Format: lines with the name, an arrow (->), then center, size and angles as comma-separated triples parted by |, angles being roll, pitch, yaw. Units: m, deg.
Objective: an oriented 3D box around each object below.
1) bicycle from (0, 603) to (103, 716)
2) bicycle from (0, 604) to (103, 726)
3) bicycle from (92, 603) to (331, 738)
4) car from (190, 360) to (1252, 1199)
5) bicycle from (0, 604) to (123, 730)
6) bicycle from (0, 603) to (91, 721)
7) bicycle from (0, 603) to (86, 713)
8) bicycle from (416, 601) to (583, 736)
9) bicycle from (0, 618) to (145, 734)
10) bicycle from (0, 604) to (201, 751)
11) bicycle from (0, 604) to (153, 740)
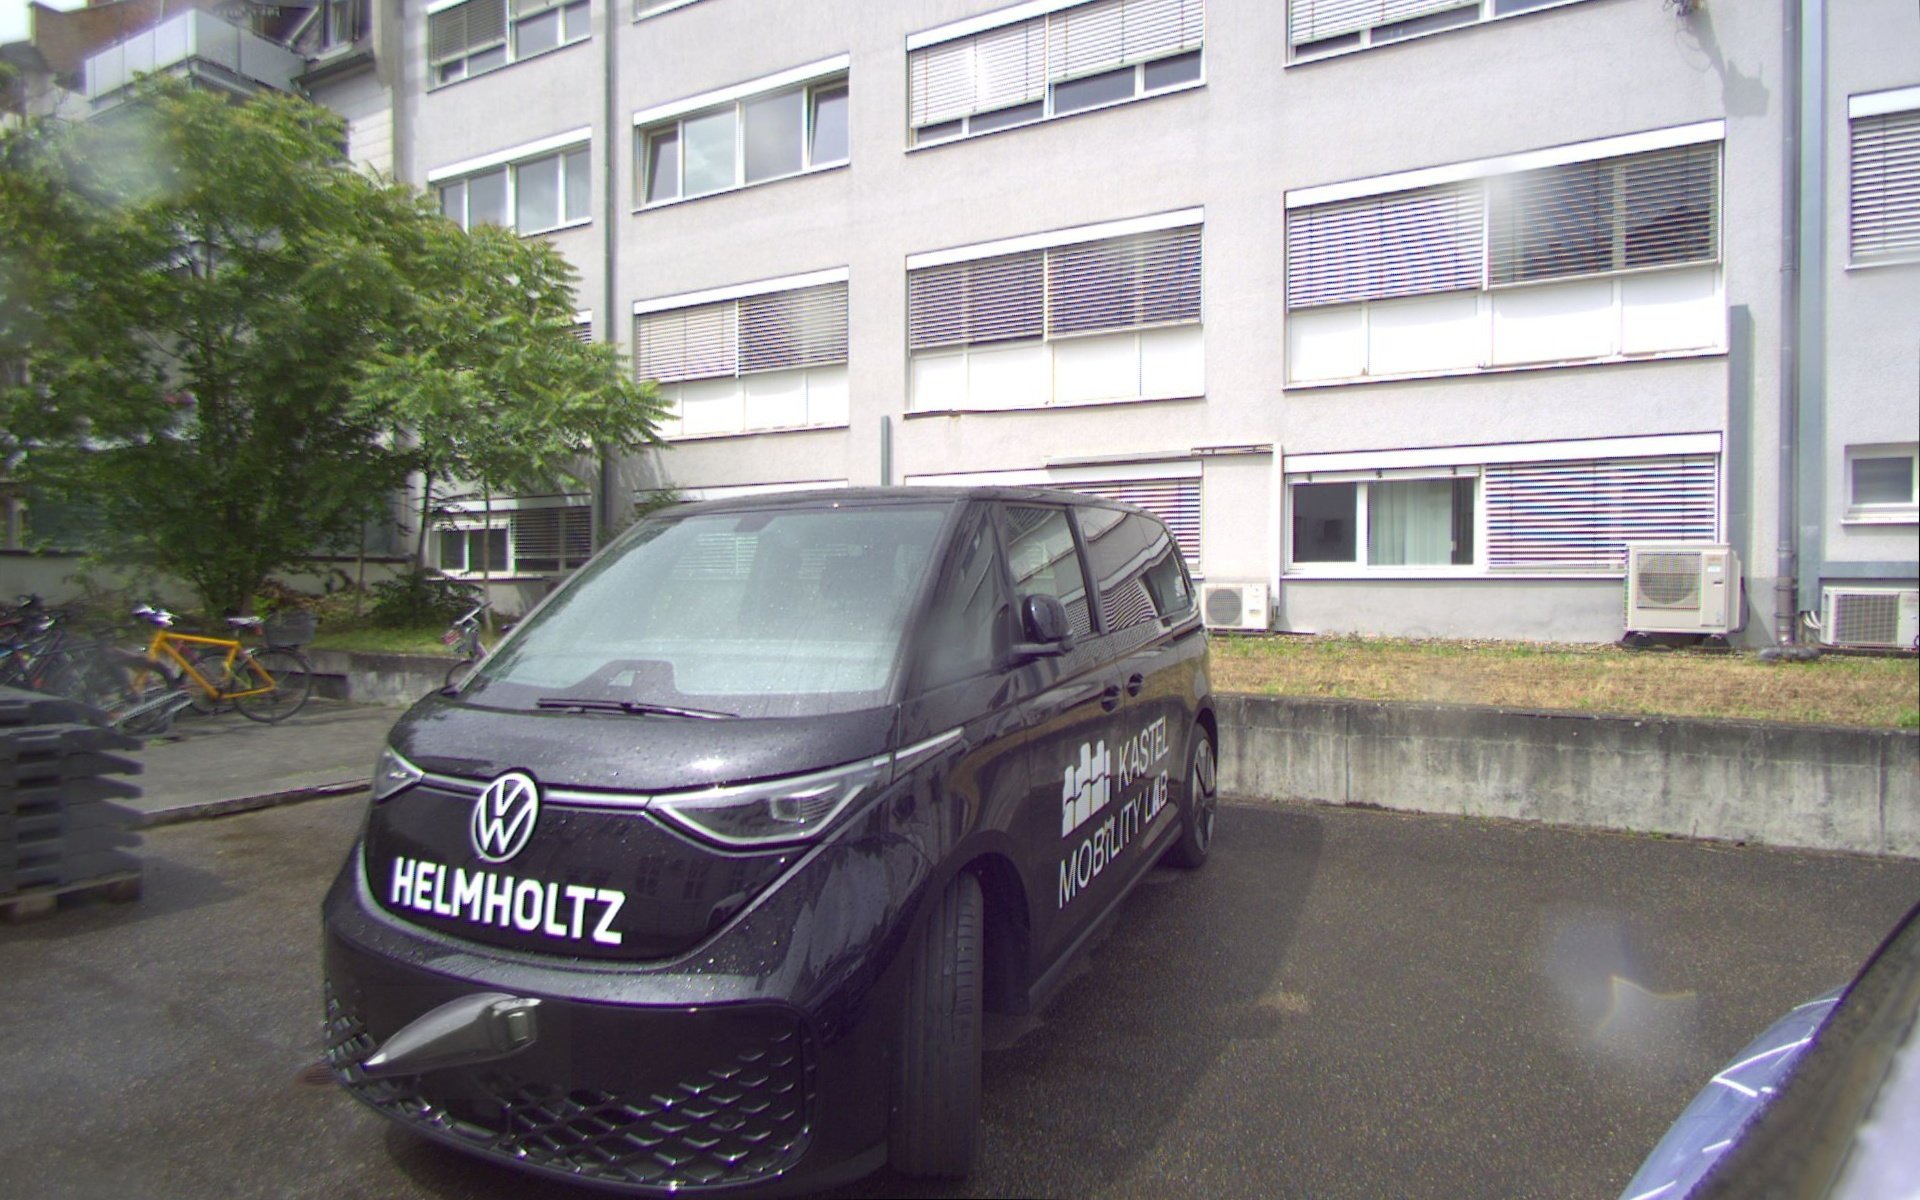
bicycle -> -9.789, 0.604, 10.228 | 0.351, 1.118, 1.740 | 1, 1, 26
bicycle -> -9.095, 0.611, 9.408 | 0.339, 1.118, 1.740 | 1, 1, 26
bicycle -> -6.885, 0.600, 9.410 | 0.364, 1.118, 1.775 | 1, 1, 34
car -> -0.122, 0.445, 4.344 | 1.950, 1.888, 4.708 | 0, 2, 25
bicycle -> -8.772, 0.609, 9.260 | 0.329, 1.118, 1.740 | 1, 1, 26
bicycle -> -9.475, 0.608, 9.708 | 0.342, 1.118, 1.740 | 1, 1, 26
bicycle -> -10.114, 0.605, 10.386 | 0.338, 1.118, 1.740 | 1, 1, 26
bicycle -> -4.300, 0.591, 9.406 | 1.781, 1.117, 0.442 | 1, 3, 31
bicycle -> -8.465, 0.678, 9.117 | 0.326, 0.979, 1.780 | 1, 1, 26
bicycle -> -7.411, 0.610, 8.377 | 0.403, 1.118, 1.775 | 1, 1, 34
bicycle -> -8.124, 0.611, 8.747 | 0.352, 1.118, 1.775 | 1, 1, 34
